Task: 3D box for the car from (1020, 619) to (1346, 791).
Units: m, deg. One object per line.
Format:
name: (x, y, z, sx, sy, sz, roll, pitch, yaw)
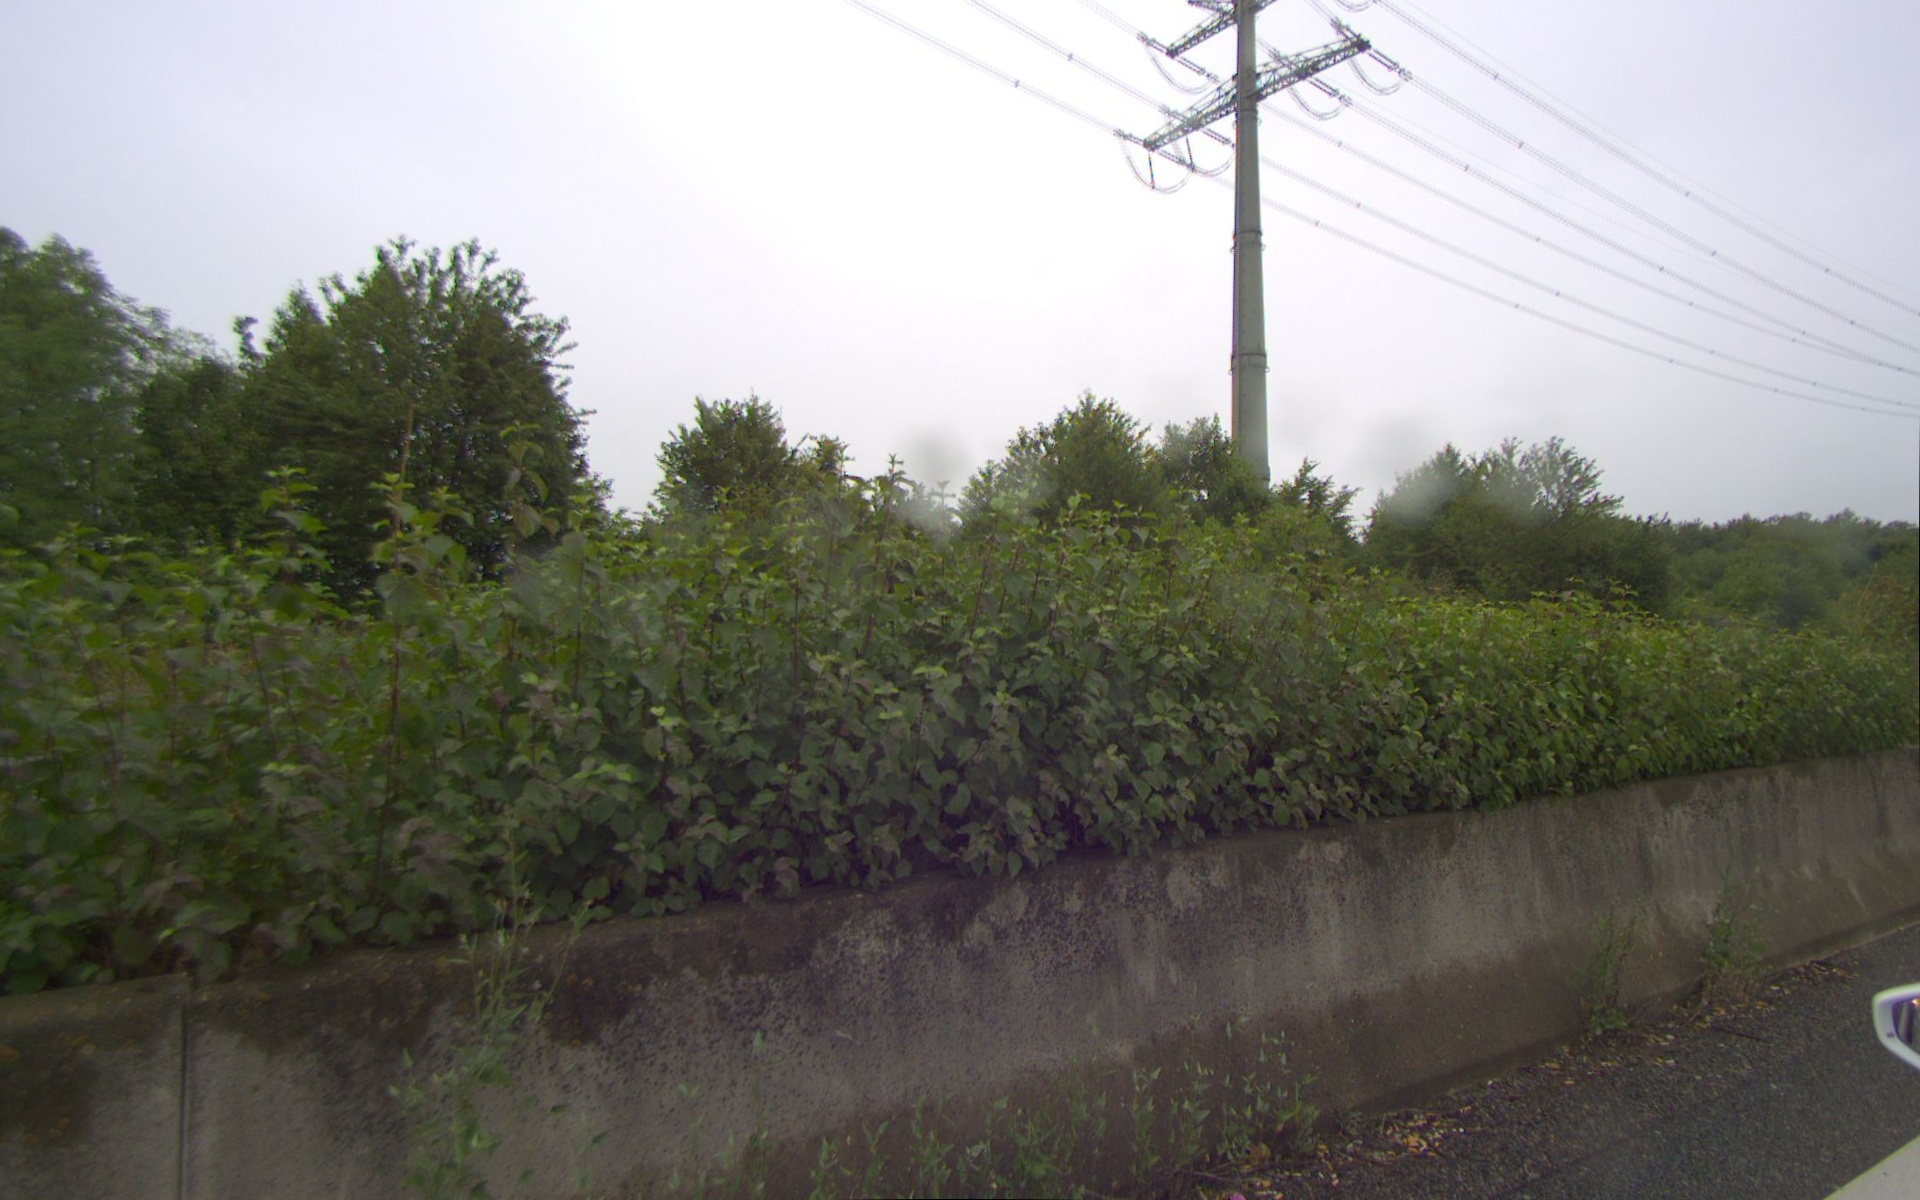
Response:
car: (2.982, 1.259, 13.325, 3.953, 1.956, 1.984, 1, -2, -30)
